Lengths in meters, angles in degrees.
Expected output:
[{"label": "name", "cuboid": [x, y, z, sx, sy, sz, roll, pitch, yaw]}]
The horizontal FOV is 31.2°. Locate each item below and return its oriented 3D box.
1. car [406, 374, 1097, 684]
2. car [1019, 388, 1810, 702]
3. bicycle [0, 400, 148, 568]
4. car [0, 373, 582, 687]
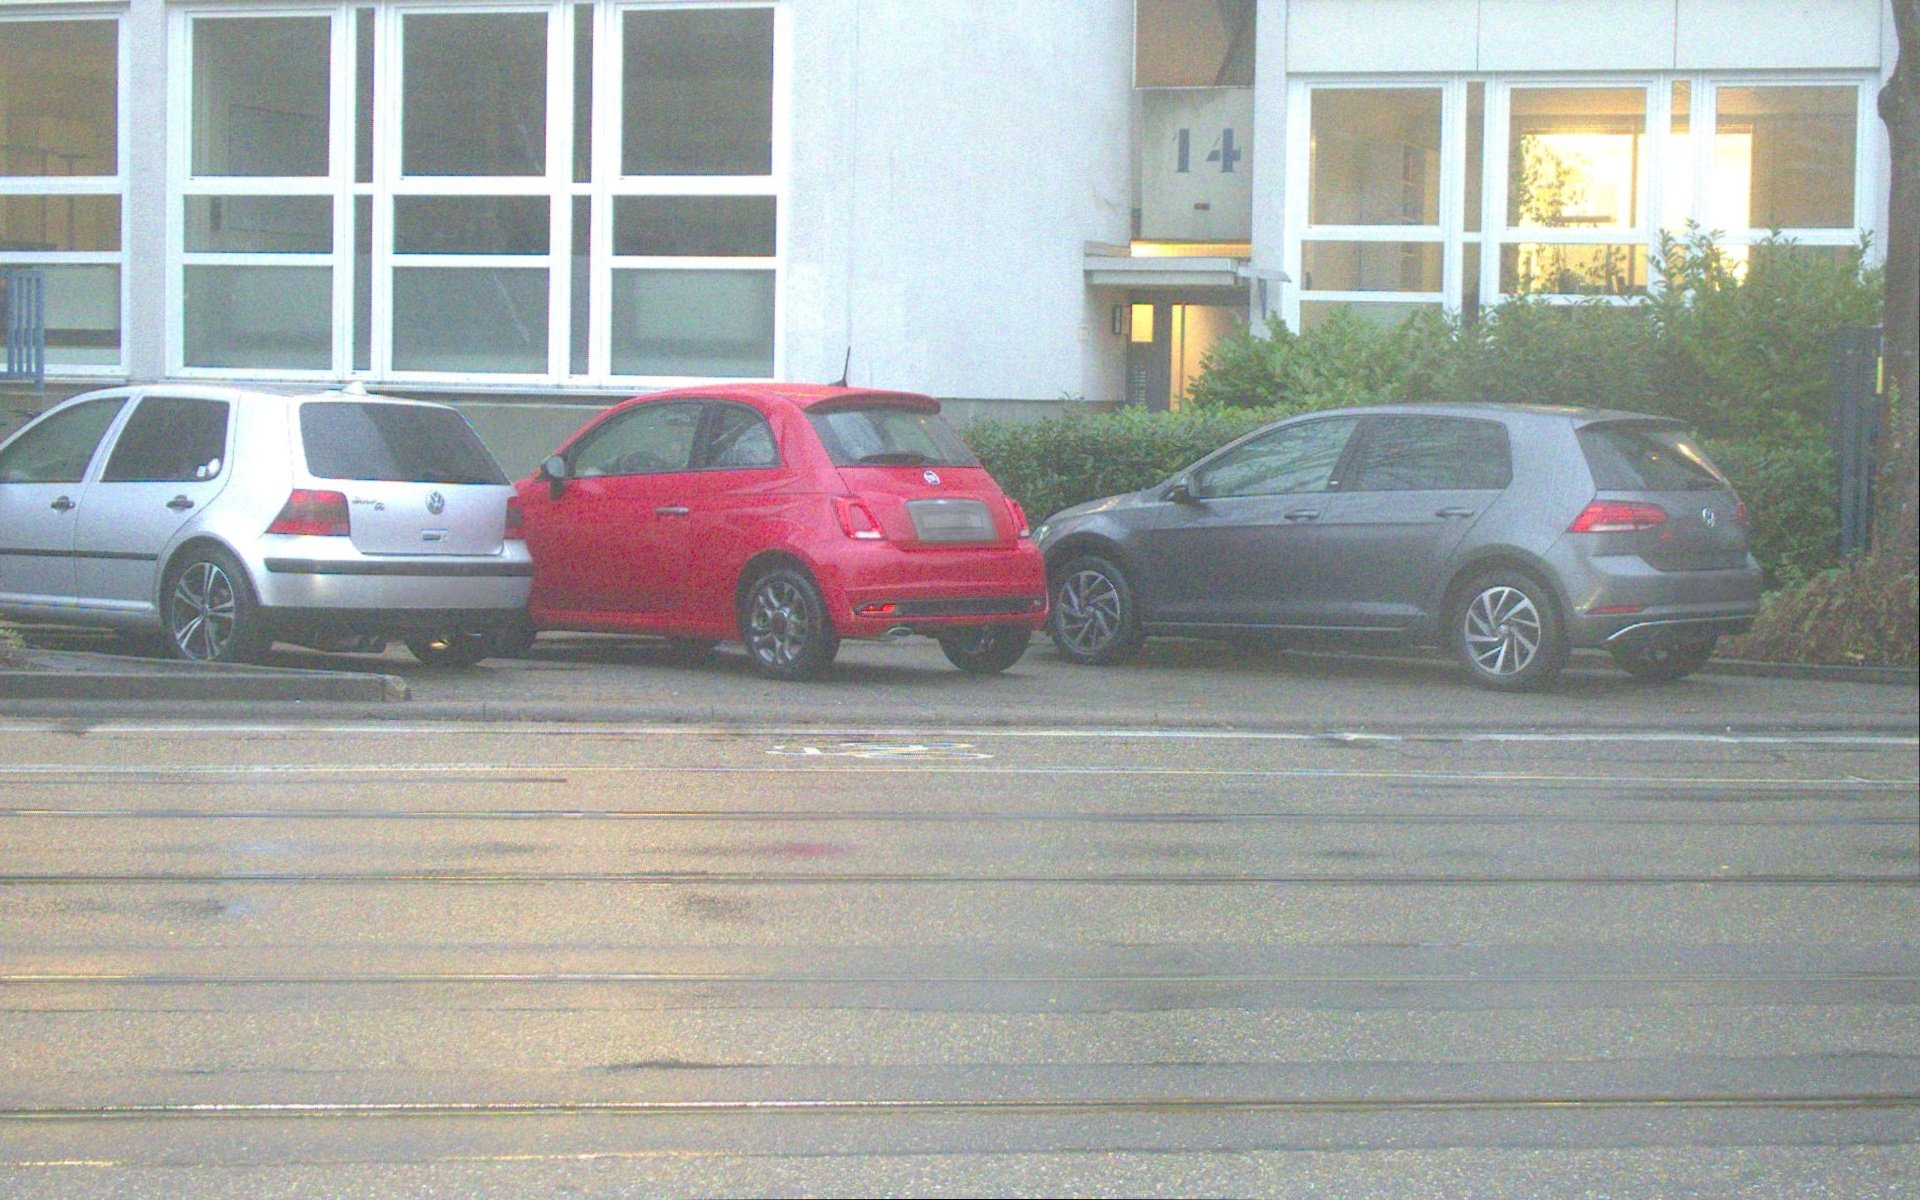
[{"label": "car", "cuboid": [-1.161, -0.448, 18.302, 3.448, 1.487, 1.725, 3, 4, 41]}, {"label": "car", "cuboid": [2.355, -0.370, 18.343, 3.850, 1.487, 1.692, 3, 4, 39]}, {"label": "bicycle", "cuboid": [-6.472, -0.826, 23.870, 0.640, 1.116, 2.204, 1, 3, 15]}, {"label": "car", "cuboid": [-4.023, -0.436, 17.671, 3.996, 1.441, 1.789, 3, 4, 37]}]
